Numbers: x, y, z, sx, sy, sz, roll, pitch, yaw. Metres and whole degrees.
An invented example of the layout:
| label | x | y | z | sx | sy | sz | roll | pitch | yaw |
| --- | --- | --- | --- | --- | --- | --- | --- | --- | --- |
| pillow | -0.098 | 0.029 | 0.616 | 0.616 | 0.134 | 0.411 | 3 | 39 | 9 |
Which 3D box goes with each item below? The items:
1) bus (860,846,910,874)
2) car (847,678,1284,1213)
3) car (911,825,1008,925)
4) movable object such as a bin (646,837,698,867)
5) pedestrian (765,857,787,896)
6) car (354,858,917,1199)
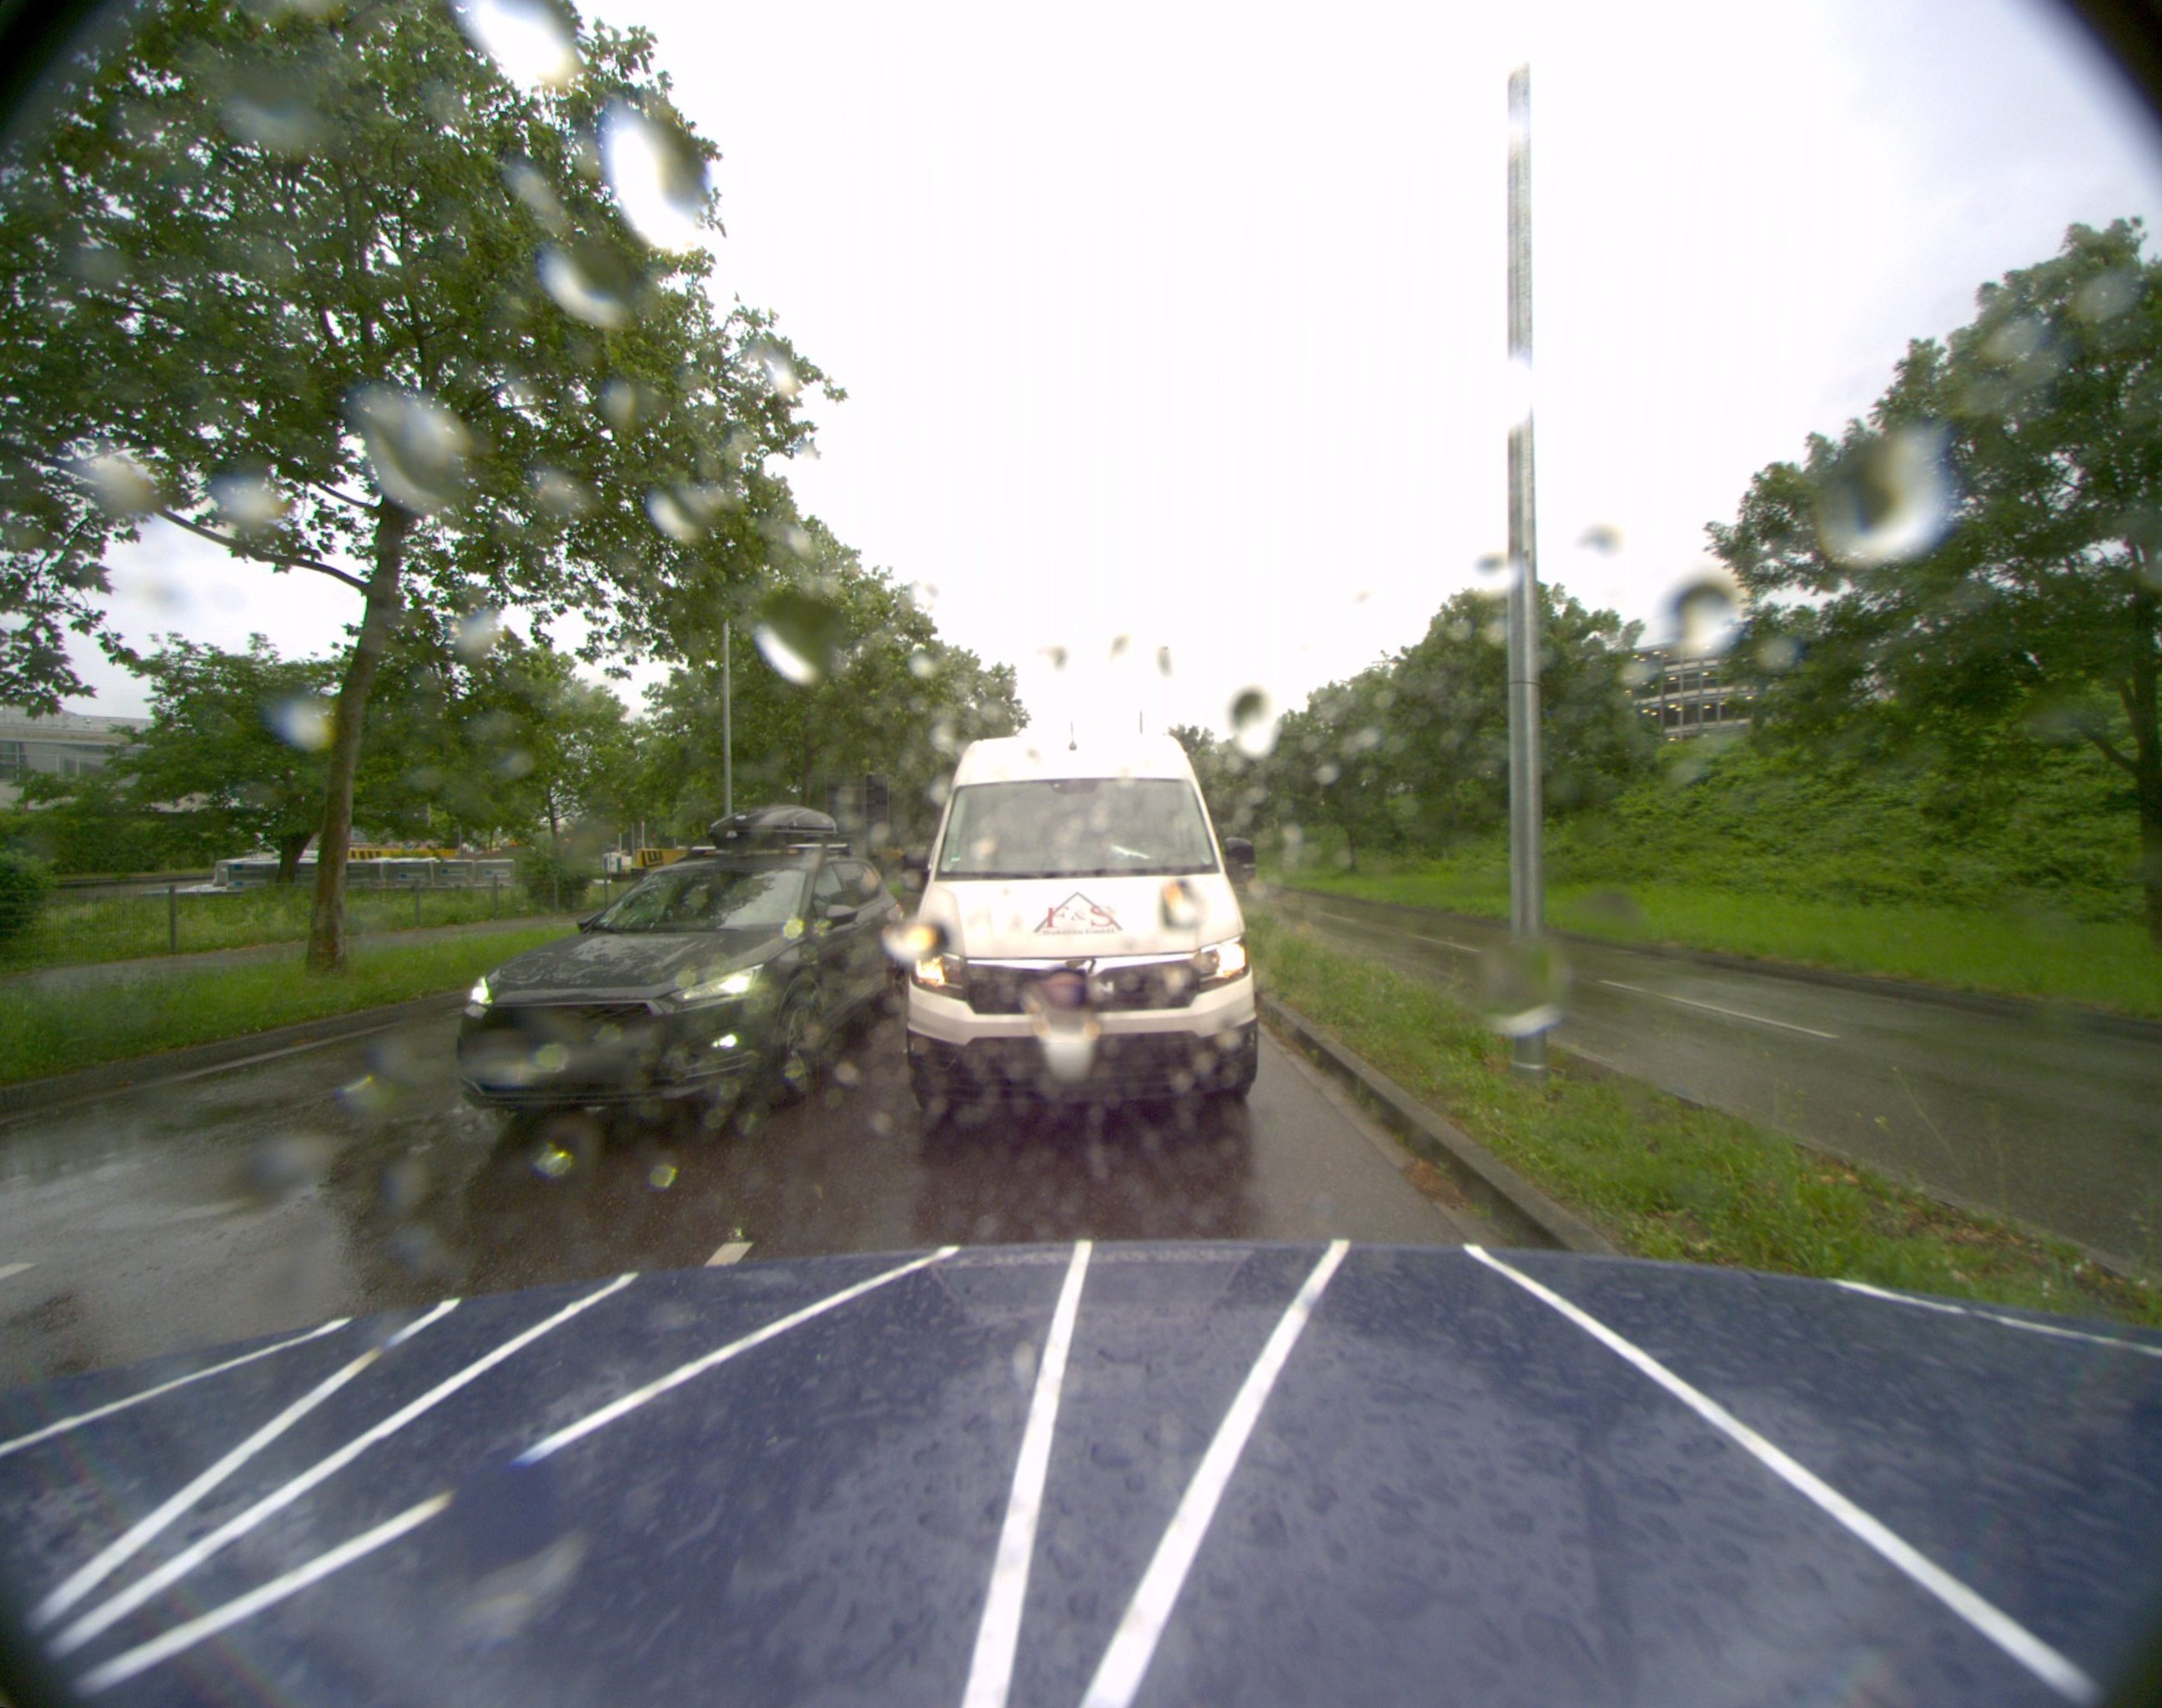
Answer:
| label | x | y | z | sx | sy | sz | roll | pitch | yaw |
| --- | --- | --- | --- | --- | --- | --- | --- | --- | --- |
| bus | -19.148 | 0.561 | 74.383 | 4.370 | 2.553 | 1.711 | -2 | 1 | 0 |
| car | -0.116 | 0.425 | 6.451 | 2.027 | 2.498 | 5.695 | -1 | 0 | -1 |
| car | -3.225 | 0.512 | 21.266 | 1.894 | 2.432 | 5.317 | -1 | 0 | -1 |
| movable object such as a bin | -48.147 | -0.283 | 89.593 | 1.913 | 3.415 | 4.947 | -1 | 1 | 36 |
| pedestrian | -13.748 | 1.022 | 34.227 | 0.646 | 1.707 | 0.656 | -2 | 1 | 1 |
| car | -2.753 | 0.905 | 6.108 | 1.894 | 1.688 | 4.423 | -1 | 0 | 0 |
